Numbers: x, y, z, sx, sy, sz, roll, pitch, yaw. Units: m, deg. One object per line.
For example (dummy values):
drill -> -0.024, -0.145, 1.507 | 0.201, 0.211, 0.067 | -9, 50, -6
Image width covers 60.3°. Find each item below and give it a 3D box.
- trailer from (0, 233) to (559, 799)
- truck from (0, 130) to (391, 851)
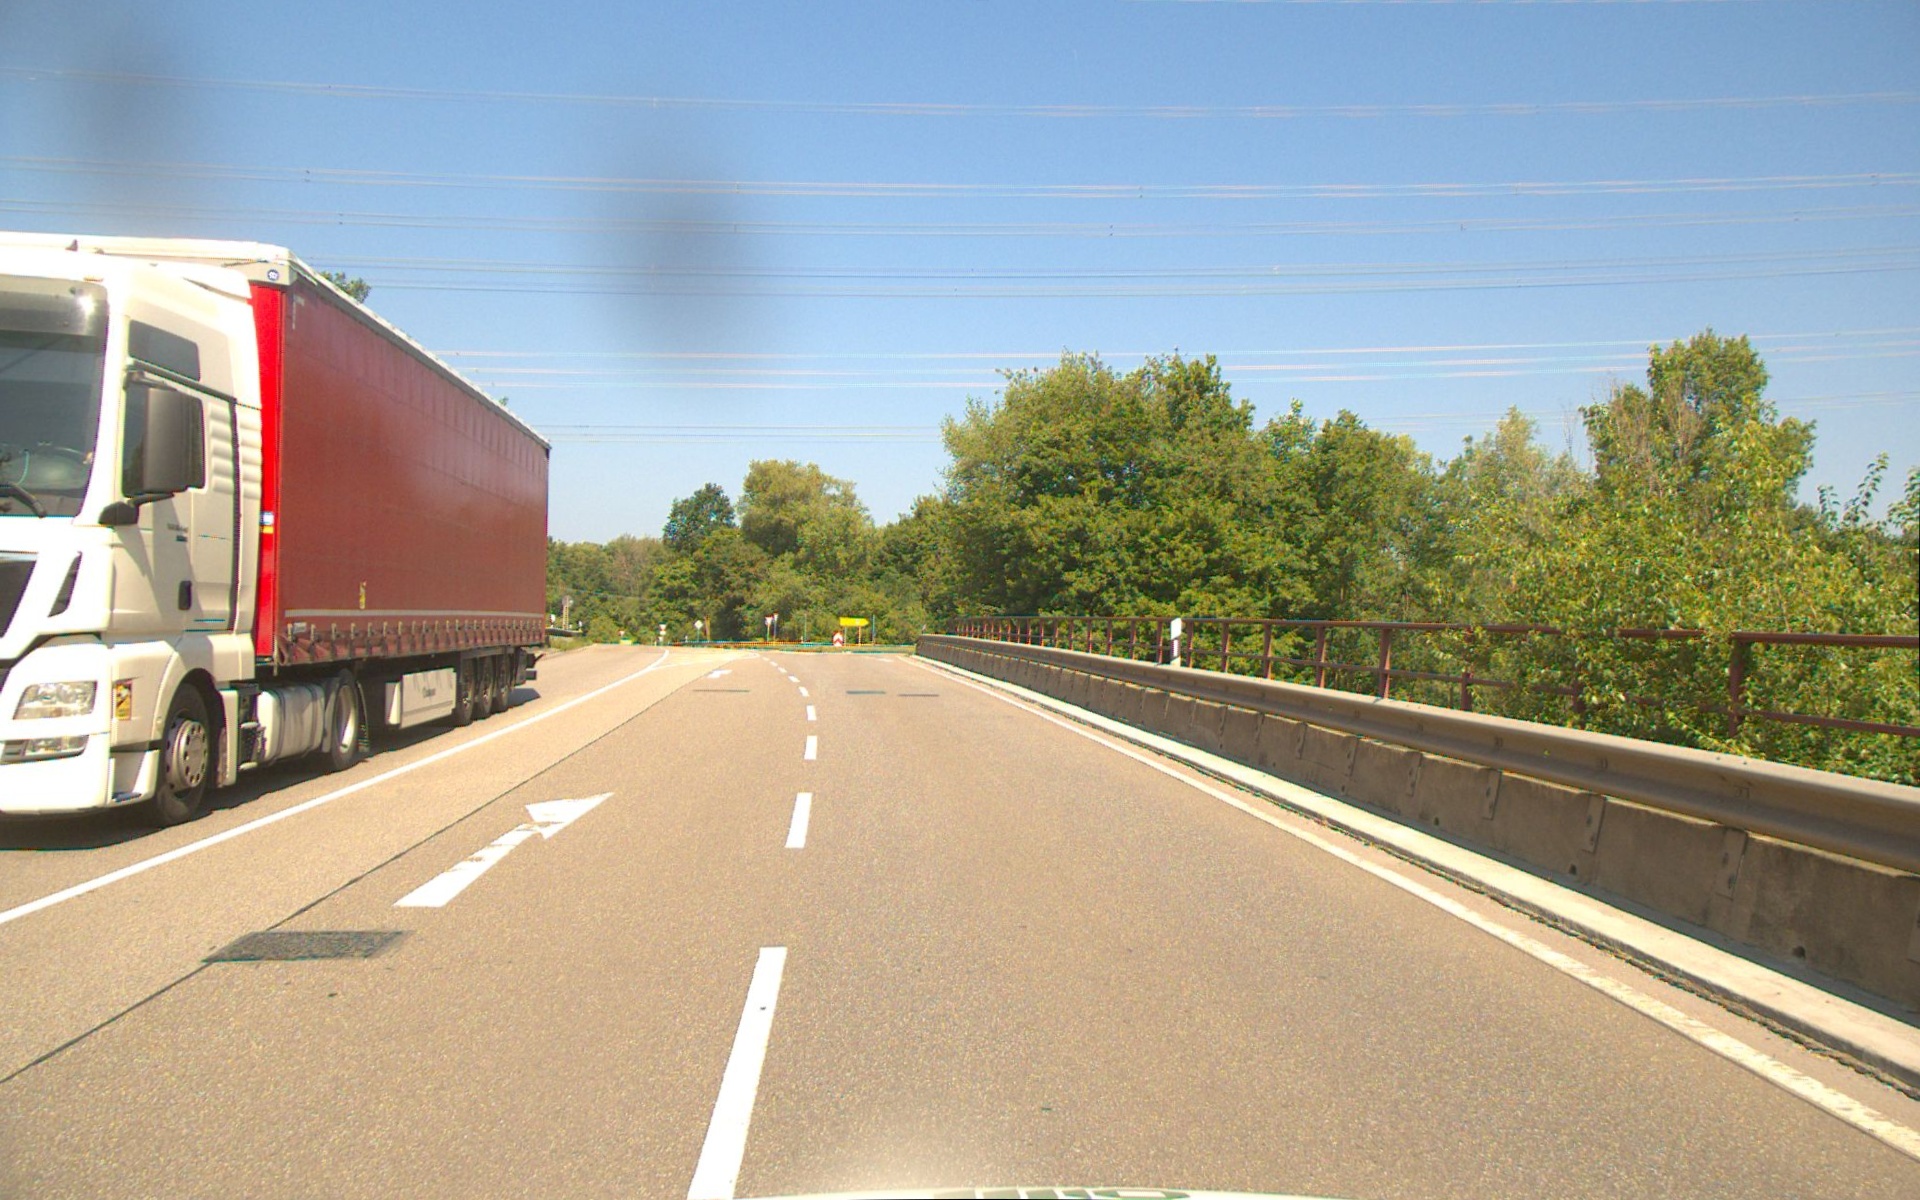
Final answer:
trailer -> -7.033, -0.547, 19.215 | 2.715, 4.133, 14.181 | 0, -1, -6
truck -> -6.331, -0.613, 12.248 | 2.715, 4.105, 5.848 | 0, 0, -6
